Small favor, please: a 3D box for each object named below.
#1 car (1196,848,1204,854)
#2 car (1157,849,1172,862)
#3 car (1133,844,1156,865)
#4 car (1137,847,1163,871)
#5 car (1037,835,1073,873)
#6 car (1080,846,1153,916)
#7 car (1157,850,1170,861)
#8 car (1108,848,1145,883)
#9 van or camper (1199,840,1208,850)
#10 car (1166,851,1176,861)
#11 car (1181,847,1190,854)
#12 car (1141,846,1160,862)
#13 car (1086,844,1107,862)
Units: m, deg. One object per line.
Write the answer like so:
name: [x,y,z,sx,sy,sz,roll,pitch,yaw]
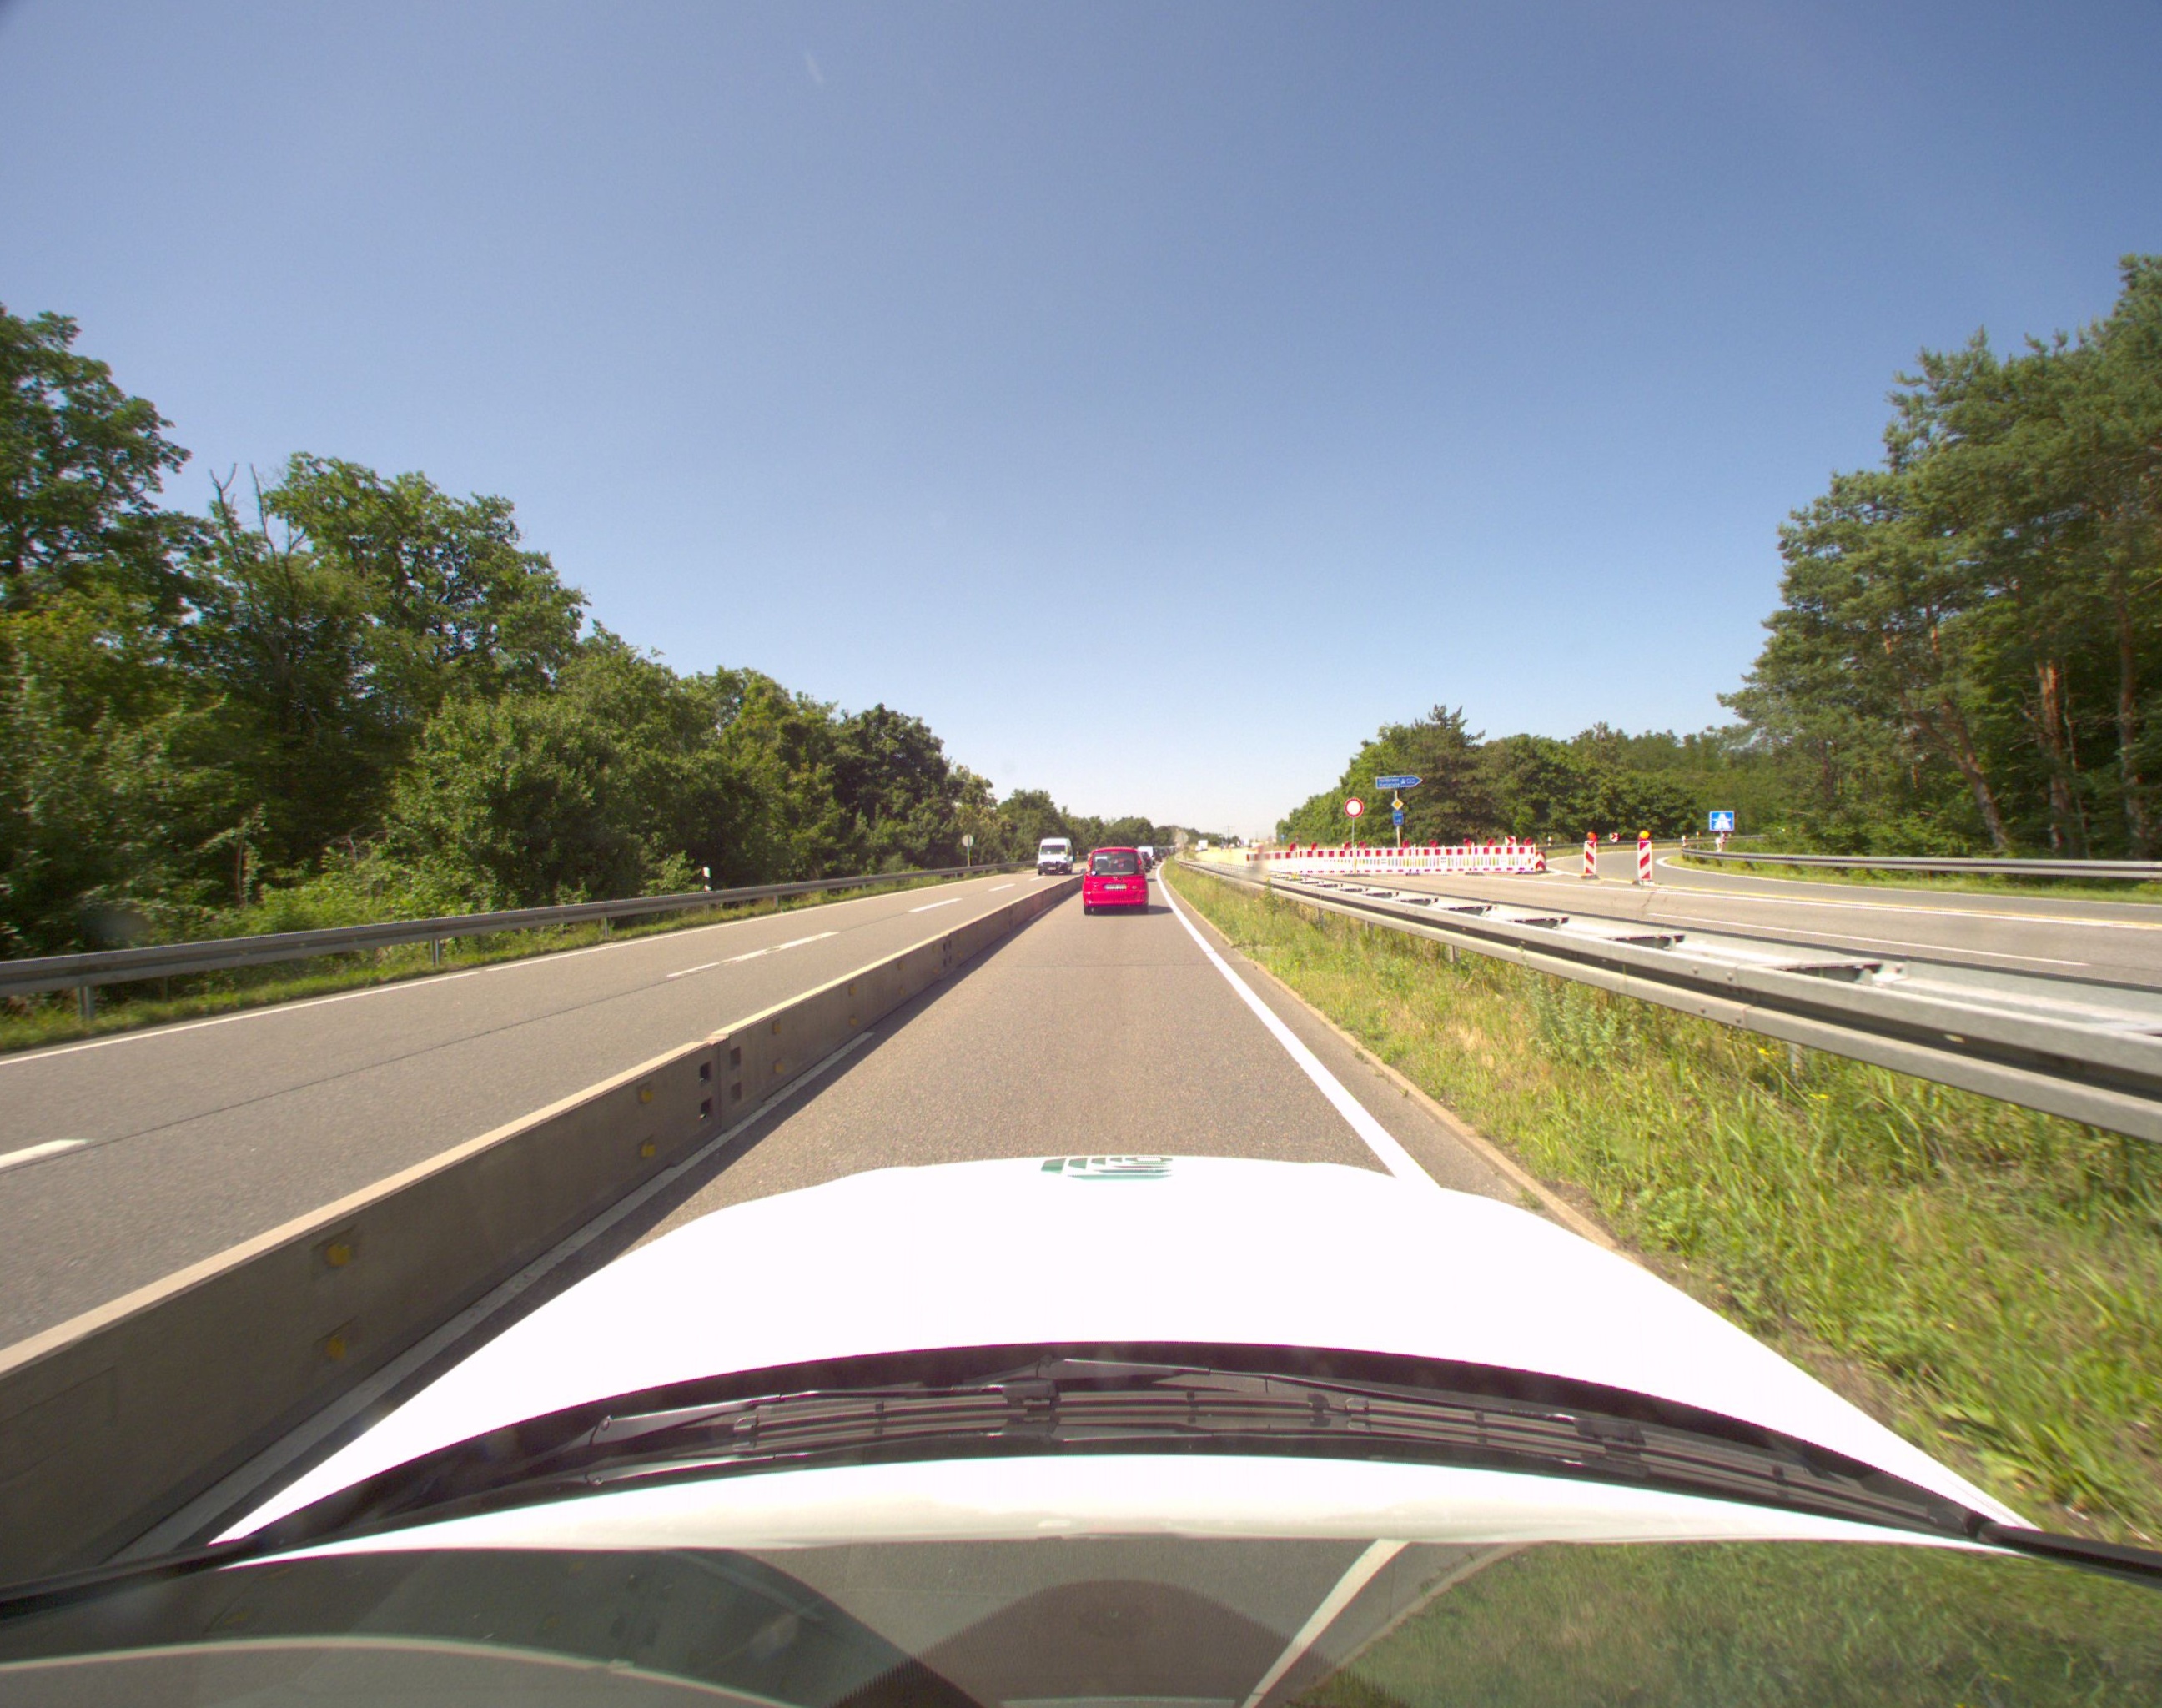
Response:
car: [32.303,-0.893,221.463,1.983,1.486,4.009,-2,0,7]
car: [12.171,0.254,118.429,1.985,1.783,4.004,-2,0,3]
car: [6.363,0.014,81.894,1.986,2.003,4.001,-2,0,1]
car: [5.777,0.405,67.550,1.983,1.838,4.007,-2,0,6]
car: [-1.719,0.017,56.636,2.053,2.485,5.564,-1,0,2]
car: [0.990,0.658,21.698,1.744,1.673,4.004,-1,0,4]
car: [13.778,0.238,135.235,1.983,1.585,4.008,-2,0,7]
car: [2.425,0.571,42.783,1.822,1.722,4.004,0,0,4]
van or camper: [35.262,-2.606,233.749,2.316,2.706,4.602,-2,0,6]
car: [16.213,0.364,147.034,1.493,1.736,3.178,-2,0,9]
car: [24.203,-0.888,188.565,1.982,1.552,4.010,-2,0,8]
car: [8.220,0.028,96.616,1.986,1.750,4.001,-2,0,1]
car: [1.496,-0.115,77.929,1.841,1.601,4.325,-2,0,3]
